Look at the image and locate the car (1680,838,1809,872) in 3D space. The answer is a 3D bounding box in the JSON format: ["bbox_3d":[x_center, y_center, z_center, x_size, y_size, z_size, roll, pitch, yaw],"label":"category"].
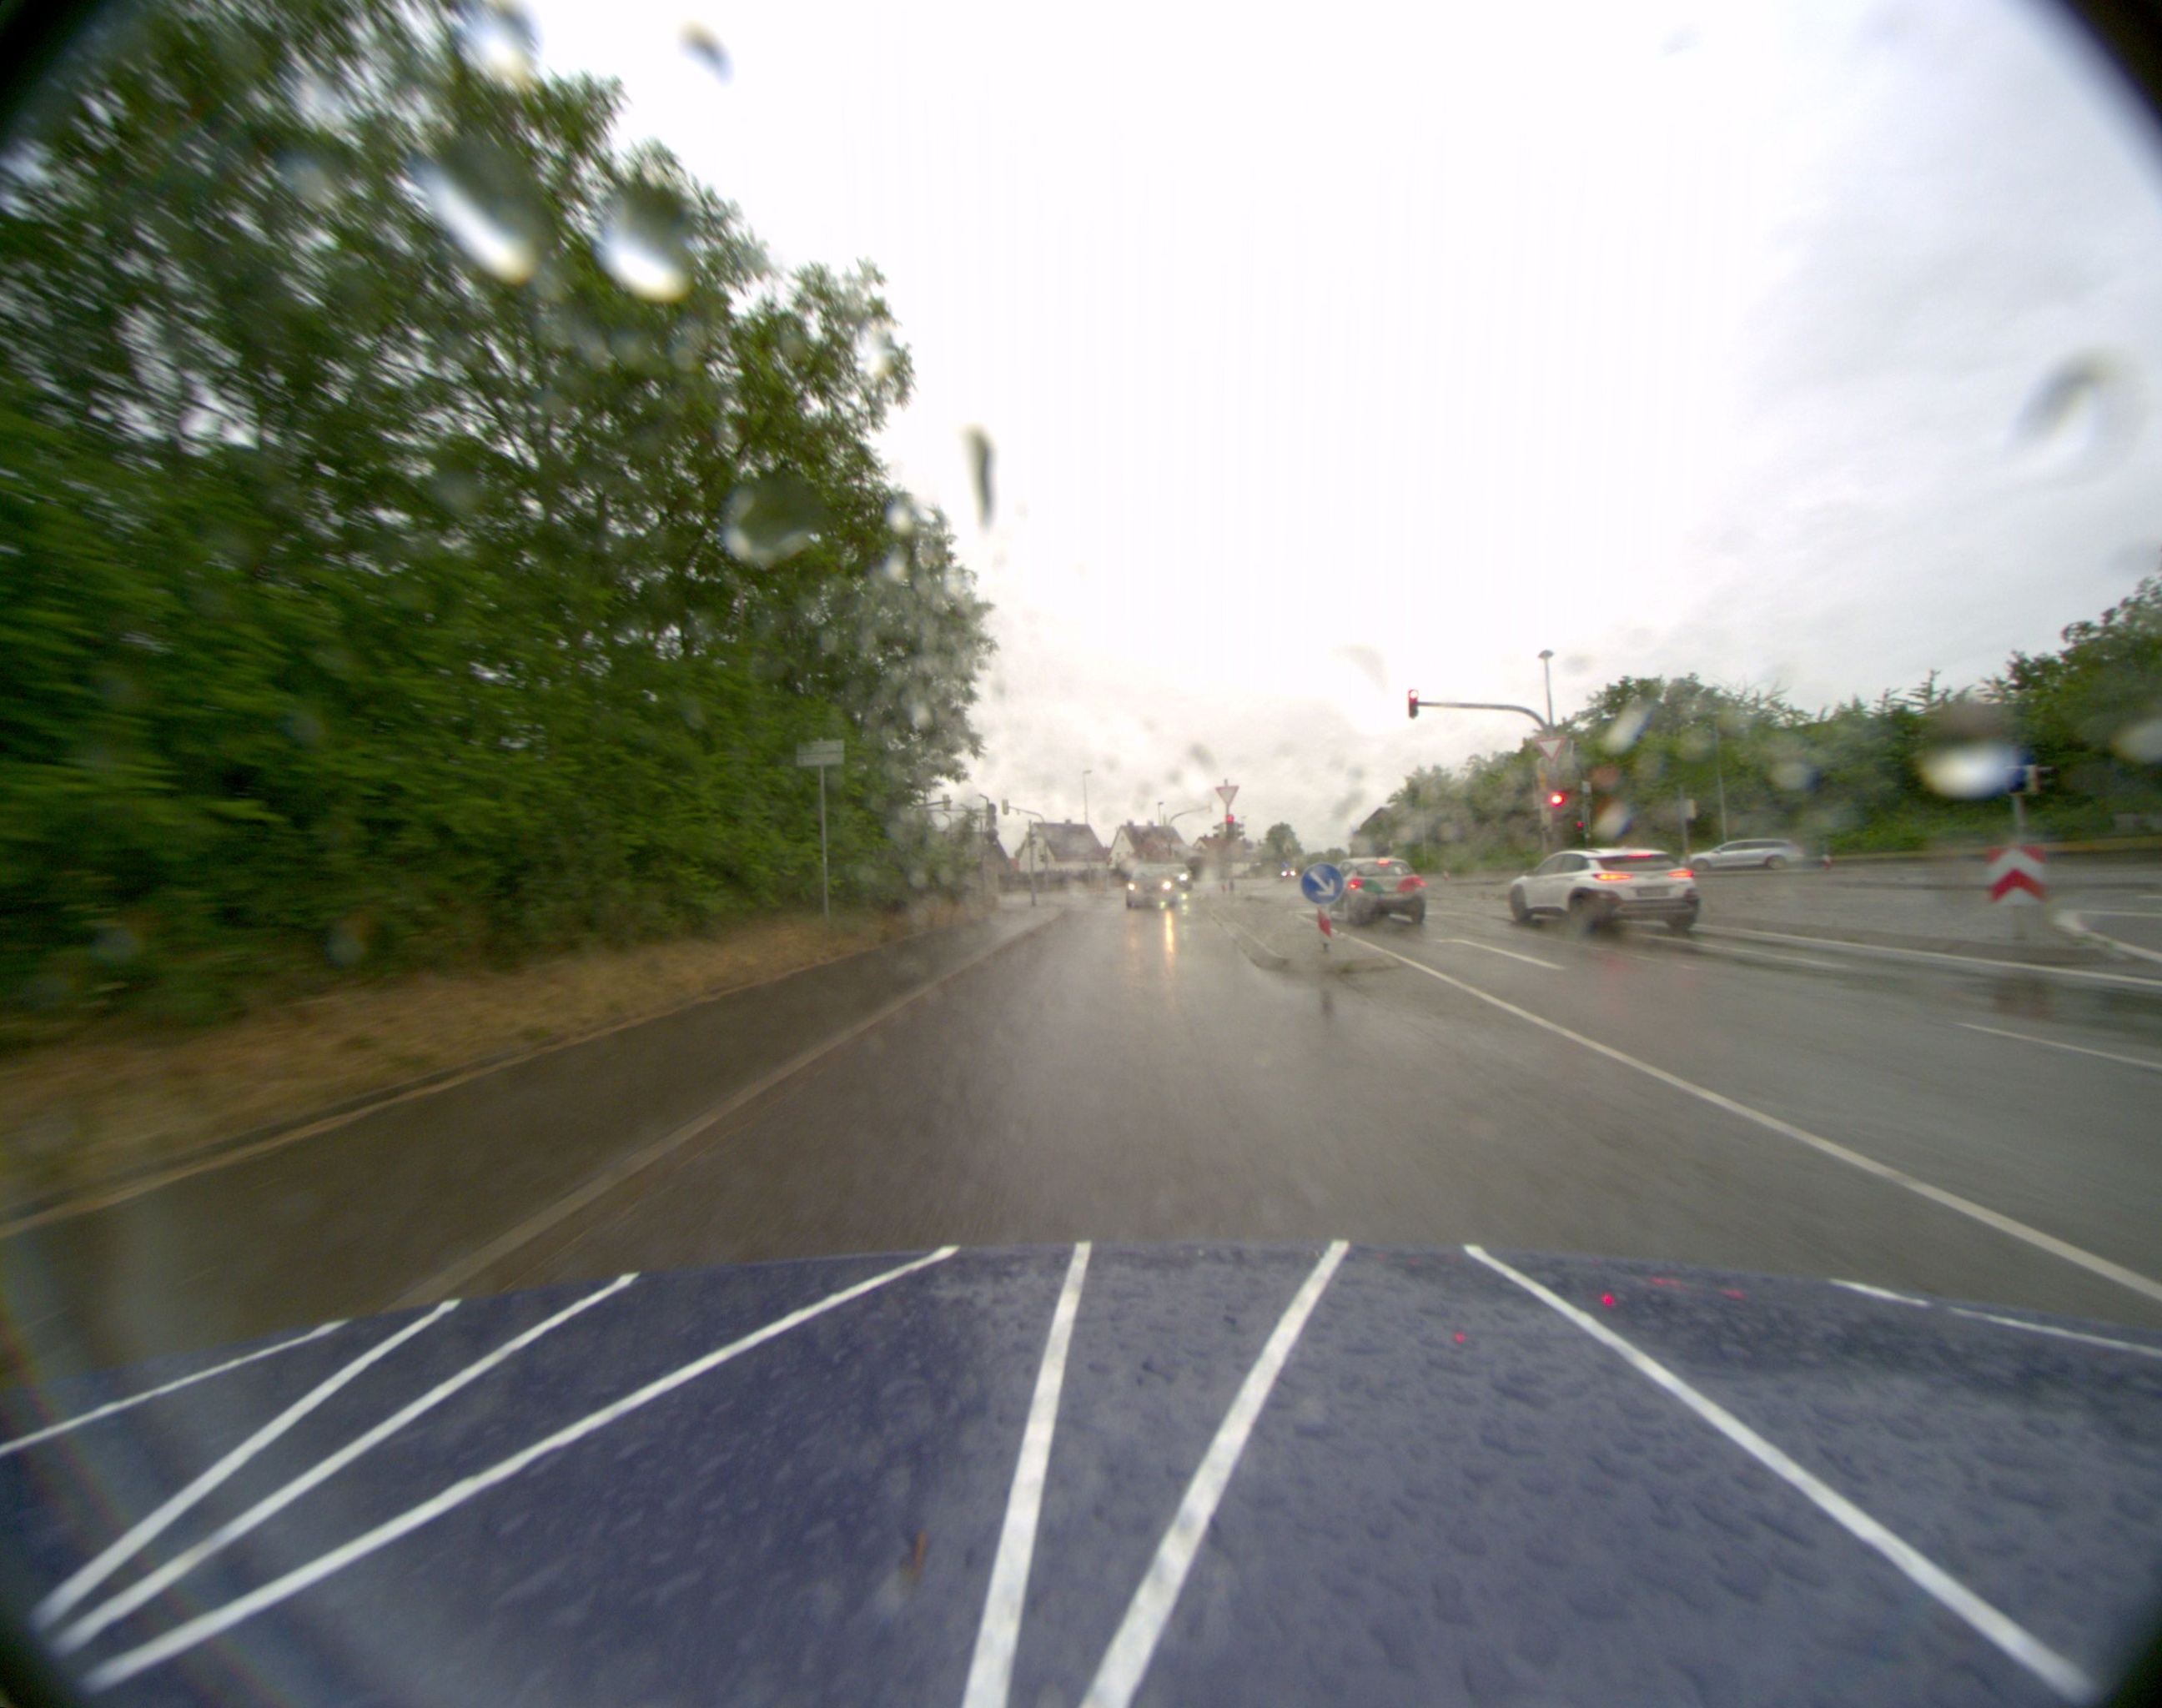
[{"bbox_3d":[31.470,0.059,36.182,4.520,1.354,1.766,-3,-1,41],"label":"car"}]

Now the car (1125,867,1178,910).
[{"bbox_3d":[2.646,1.229,27.870,1.665,1.409,3.936,-3,-2,8],"label":"car"}]

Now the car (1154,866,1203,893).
[{"bbox_3d":[5.752,1.488,44.555,1.896,1.473,4.007,-3,-2,21],"label":"car"}]

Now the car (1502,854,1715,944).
[{"bbox_3d":[10.129,0.789,15.008,1.723,1.485,4.002,-3,-1,7],"label":"car"}]

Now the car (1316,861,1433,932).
[{"bbox_3d":[6.911,0.928,18.309,1.664,1.485,4.002,-1,0,7],"label":"car"}]

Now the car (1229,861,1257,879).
[{"bbox_3d":[23.074,2.288,108.011,4.008,2.336,1.650,-1,-2,-40],"label":"car"}]

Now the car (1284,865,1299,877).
[{"bbox_3d":[29.562,2.414,106.727,1.755,1.547,3.925,-3,-1,18],"label":"car"}]
